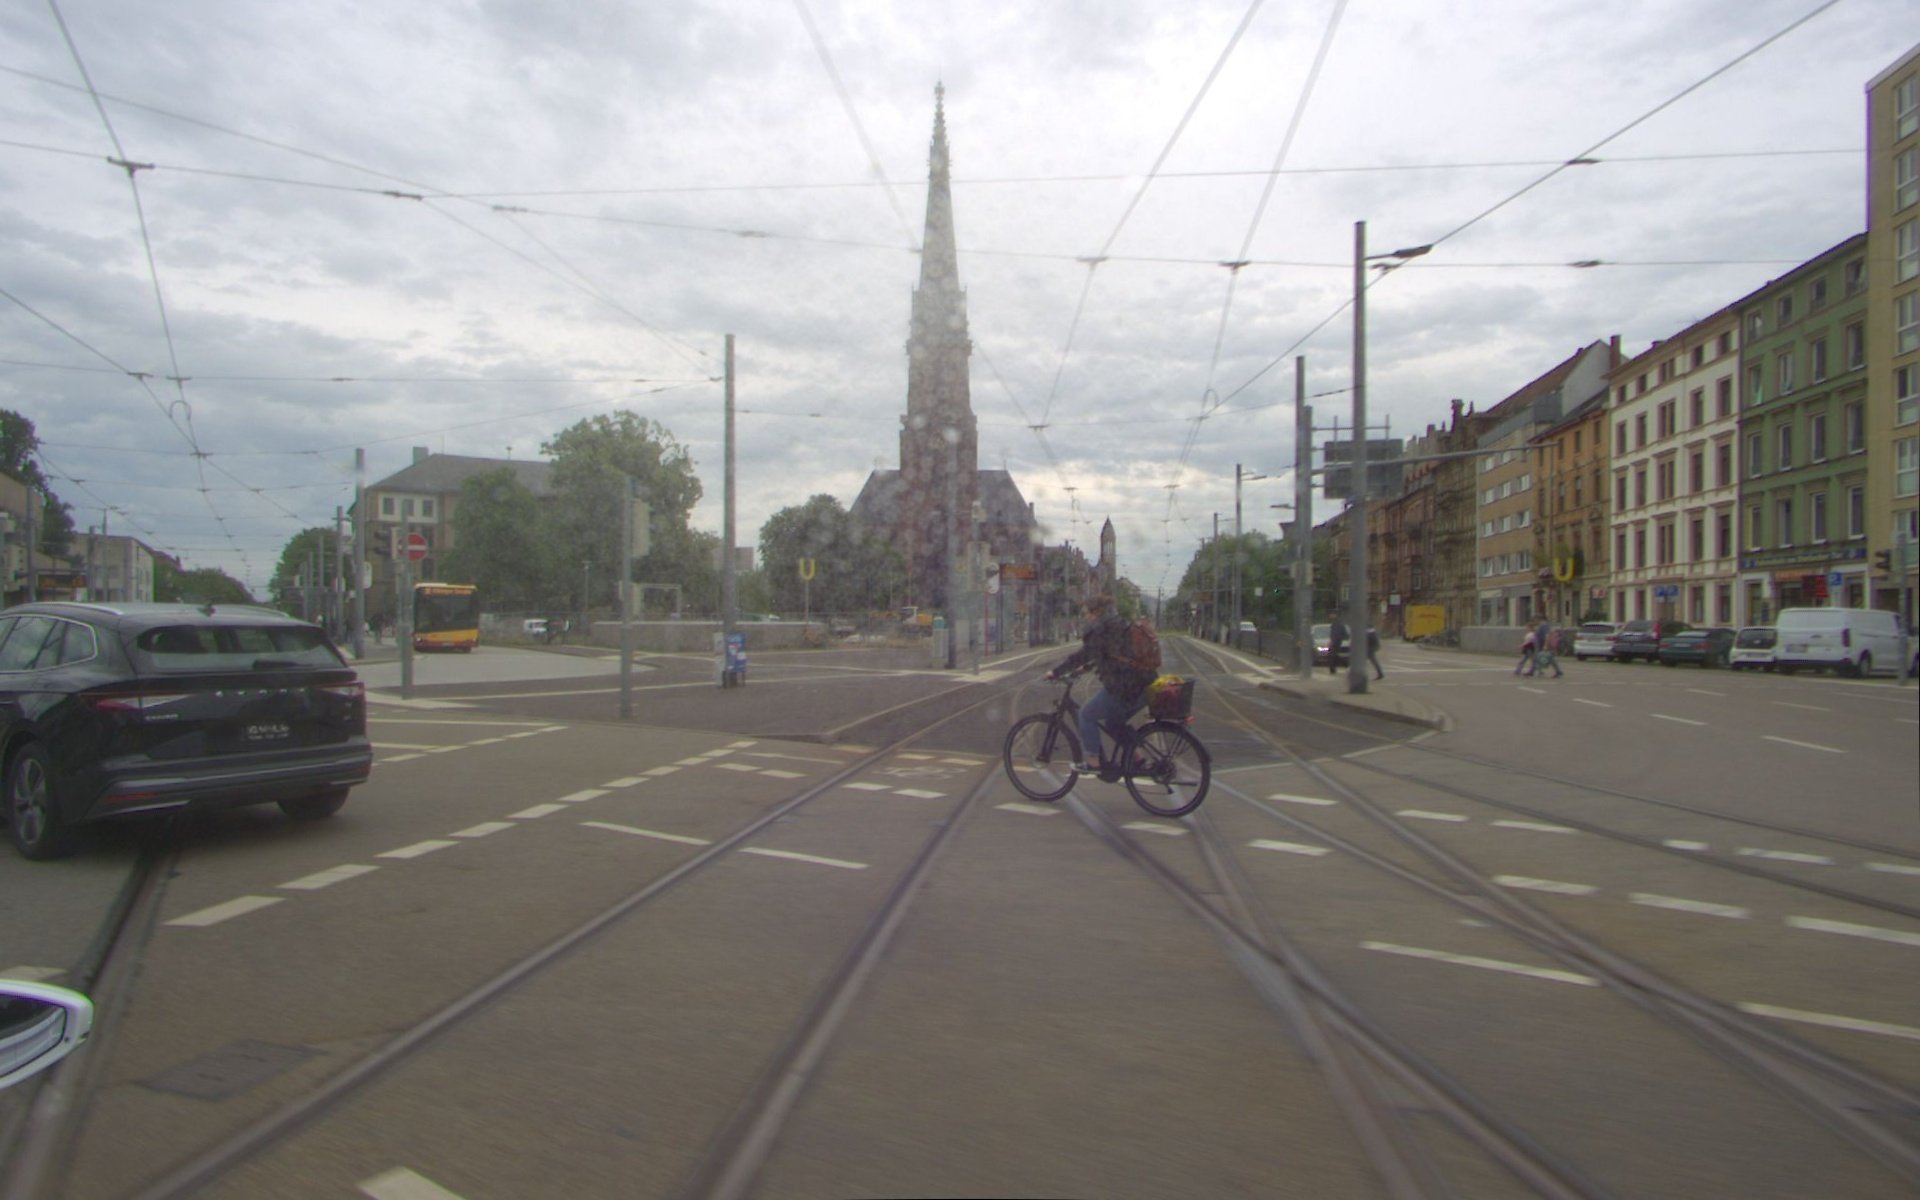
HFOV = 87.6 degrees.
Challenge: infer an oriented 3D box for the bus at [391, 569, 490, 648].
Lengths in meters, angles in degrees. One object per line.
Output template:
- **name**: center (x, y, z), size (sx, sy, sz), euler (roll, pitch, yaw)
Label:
- **bus**: center (-25.279, 0.563, 48.321), size (2.986, 3.309, 12.965), euler (1, -2, -33)

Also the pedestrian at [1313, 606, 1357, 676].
- **pedestrian**: center (10.560, 1.146, 28.222), size (0.887, 1.936, 0.784), euler (0, -1, -11)

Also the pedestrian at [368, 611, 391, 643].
- **pedestrian**: center (-30.904, 1.434, 53.320), size (0.993, 1.666, 1.016), euler (1, -1, -30)

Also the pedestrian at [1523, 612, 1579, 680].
- **pedestrian**: center (14.464, 1.117, 24.524), size (0.880, 1.622, 0.784), euler (0, -1, -11)

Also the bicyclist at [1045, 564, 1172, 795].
- **bicyclist**: center (1.176, 0.597, 7.888), size (0.794, 1.712, 0.614), euler (0, -1, 32)

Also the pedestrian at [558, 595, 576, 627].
- **pedestrian**: center (-23.411, 0.688, 59.634), size (0.814, 1.877, 1.016), euler (1, -1, -30)

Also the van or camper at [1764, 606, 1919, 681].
- **van or camper**: center (26.041, 1.226, 29.139), size (5.384, 2.004, 2.163), euler (1, -1, -27)

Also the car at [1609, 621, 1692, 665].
- **car**: center (26.524, 1.642, 38.435), size (3.701, 1.602, 1.875), euler (2, -2, -42)

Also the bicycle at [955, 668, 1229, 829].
- **bicycle**: center (1.010, 1.119, 7.979), size (2.095, 1.068, 0.624), euler (0, -1, 32)

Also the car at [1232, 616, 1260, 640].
- **car**: center (22.145, 2.188, 77.667), size (1.963, 1.772, 3.998), euler (0, -2, 14)

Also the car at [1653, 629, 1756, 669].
- **car**: center (25.933, 1.701, 34.864), size (3.687, 1.320, 1.671), euler (1, -2, -32)

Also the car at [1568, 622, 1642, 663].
- **car**: center (26.725, 1.745, 41.442), size (3.701, 1.607, 1.720), euler (2, -2, -42)

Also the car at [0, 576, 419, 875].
- **car**: center (-6.339, 0.756, 7.588), size (4.447, 1.679, 1.901), euler (-1, -2, 30)

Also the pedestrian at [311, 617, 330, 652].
- **pedestrian**: center (-34.161, 1.841, 53.503), size (0.814, 1.831, 1.016), euler (1, -1, -30)

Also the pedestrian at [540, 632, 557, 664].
- **pedestrian**: center (-24.268, 2.817, 59.081), size (0.814, 1.831, 1.016), euler (1, -1, -30)

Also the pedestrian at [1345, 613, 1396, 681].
- **pedestrian**: center (10.131, 1.157, 24.727), size (0.887, 1.664, 0.784), euler (0, -1, -11)

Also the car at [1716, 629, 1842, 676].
- **car**: center (26.518, 1.667, 32.424), size (3.679, 1.435, 1.730), euler (1, -1, -25)

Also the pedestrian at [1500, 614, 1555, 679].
- **pedestrian**: center (14.328, 1.171, 25.282), size (0.934, 1.632, 0.768), euler (1, -1, -11)

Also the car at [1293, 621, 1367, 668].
- **car**: center (12.892, 1.536, 35.104), size (1.963, 1.505, 4.443), euler (0, -2, 14)

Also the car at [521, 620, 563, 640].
- **car**: center (-35.585, 2.528, 85.198), size (3.959, 1.683, 1.898), euler (-1, -1, 45)

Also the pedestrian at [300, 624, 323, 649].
- **pedestrian**: center (-36.326, 2.040, 56.069), size (1.006, 1.420, 1.003), euler (1, -1, -30)
